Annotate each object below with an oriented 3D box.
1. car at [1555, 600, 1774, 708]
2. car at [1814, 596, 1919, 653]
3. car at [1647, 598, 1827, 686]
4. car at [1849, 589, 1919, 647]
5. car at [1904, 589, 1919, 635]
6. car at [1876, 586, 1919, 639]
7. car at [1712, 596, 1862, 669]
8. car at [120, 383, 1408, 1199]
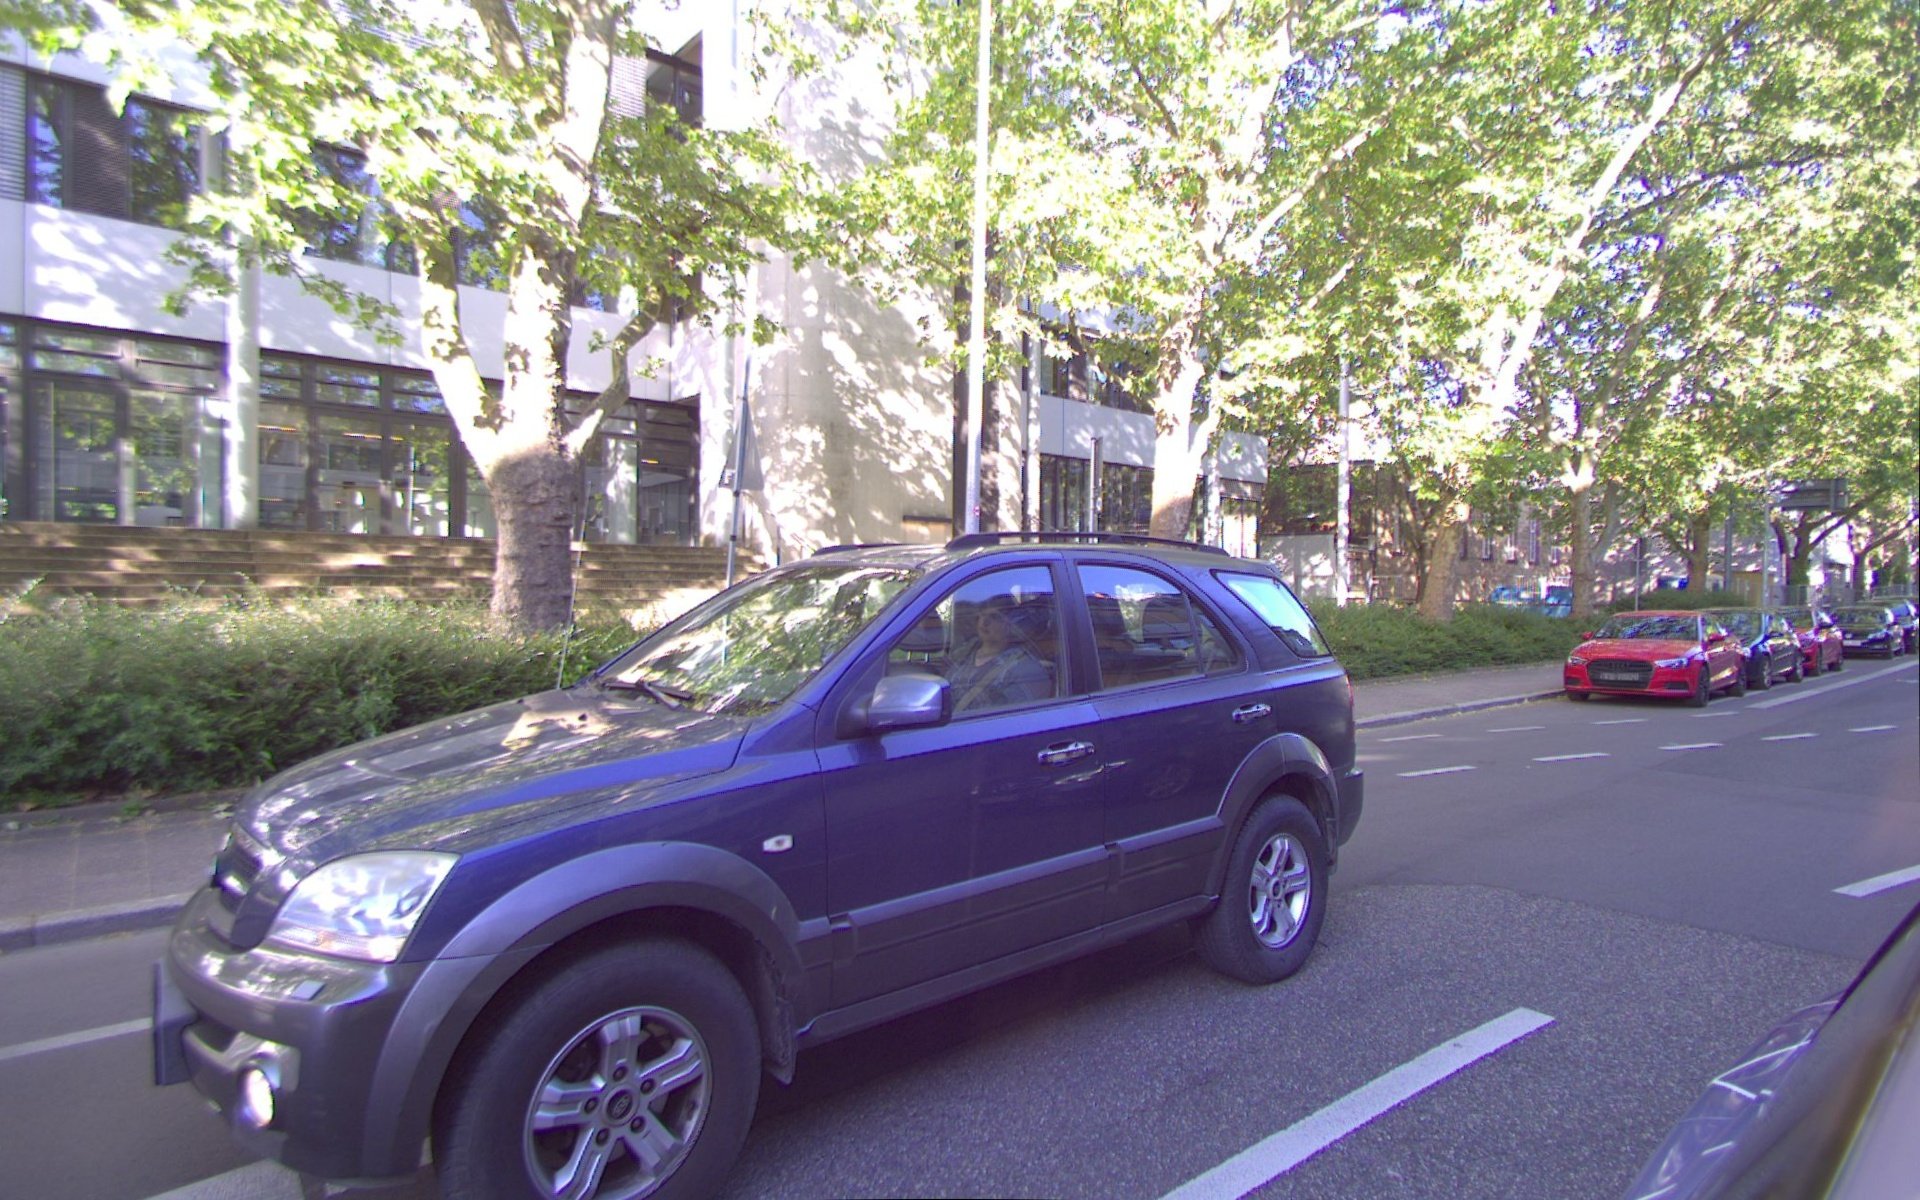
[{"bbox_3d":[11.307,0.743,16.127,4.403,1.469,1.865,0,0,-41],"label":"car"},{"bbox_3d":[25.778,0.628,28.599,4.403,1.469,1.865,0,0,-41],"label":"car"},{"bbox_3d":[14.754,0.697,19.128,4.403,1.469,1.865,0,0,-41],"label":"car"},{"bbox_3d":[29.558,0.521,31.794,4.403,1.689,1.865,0,0,-41],"label":"car"},{"bbox_3d":[38.861,0.452,39.955,4.403,1.781,1.865,0,0,-41],"label":"car"},{"bbox_3d":[33.895,0.403,35.685,4.403,1.781,1.865,0,0,-41],"label":"car"},{"bbox_3d":[18.422,0.642,22.465,4.403,1.469,1.865,0,0,-41],"label":"car"},{"bbox_3d":[-0.265,0.529,3.782,4.403,1.786,1.865,0,0,-41],"label":"car"}]
